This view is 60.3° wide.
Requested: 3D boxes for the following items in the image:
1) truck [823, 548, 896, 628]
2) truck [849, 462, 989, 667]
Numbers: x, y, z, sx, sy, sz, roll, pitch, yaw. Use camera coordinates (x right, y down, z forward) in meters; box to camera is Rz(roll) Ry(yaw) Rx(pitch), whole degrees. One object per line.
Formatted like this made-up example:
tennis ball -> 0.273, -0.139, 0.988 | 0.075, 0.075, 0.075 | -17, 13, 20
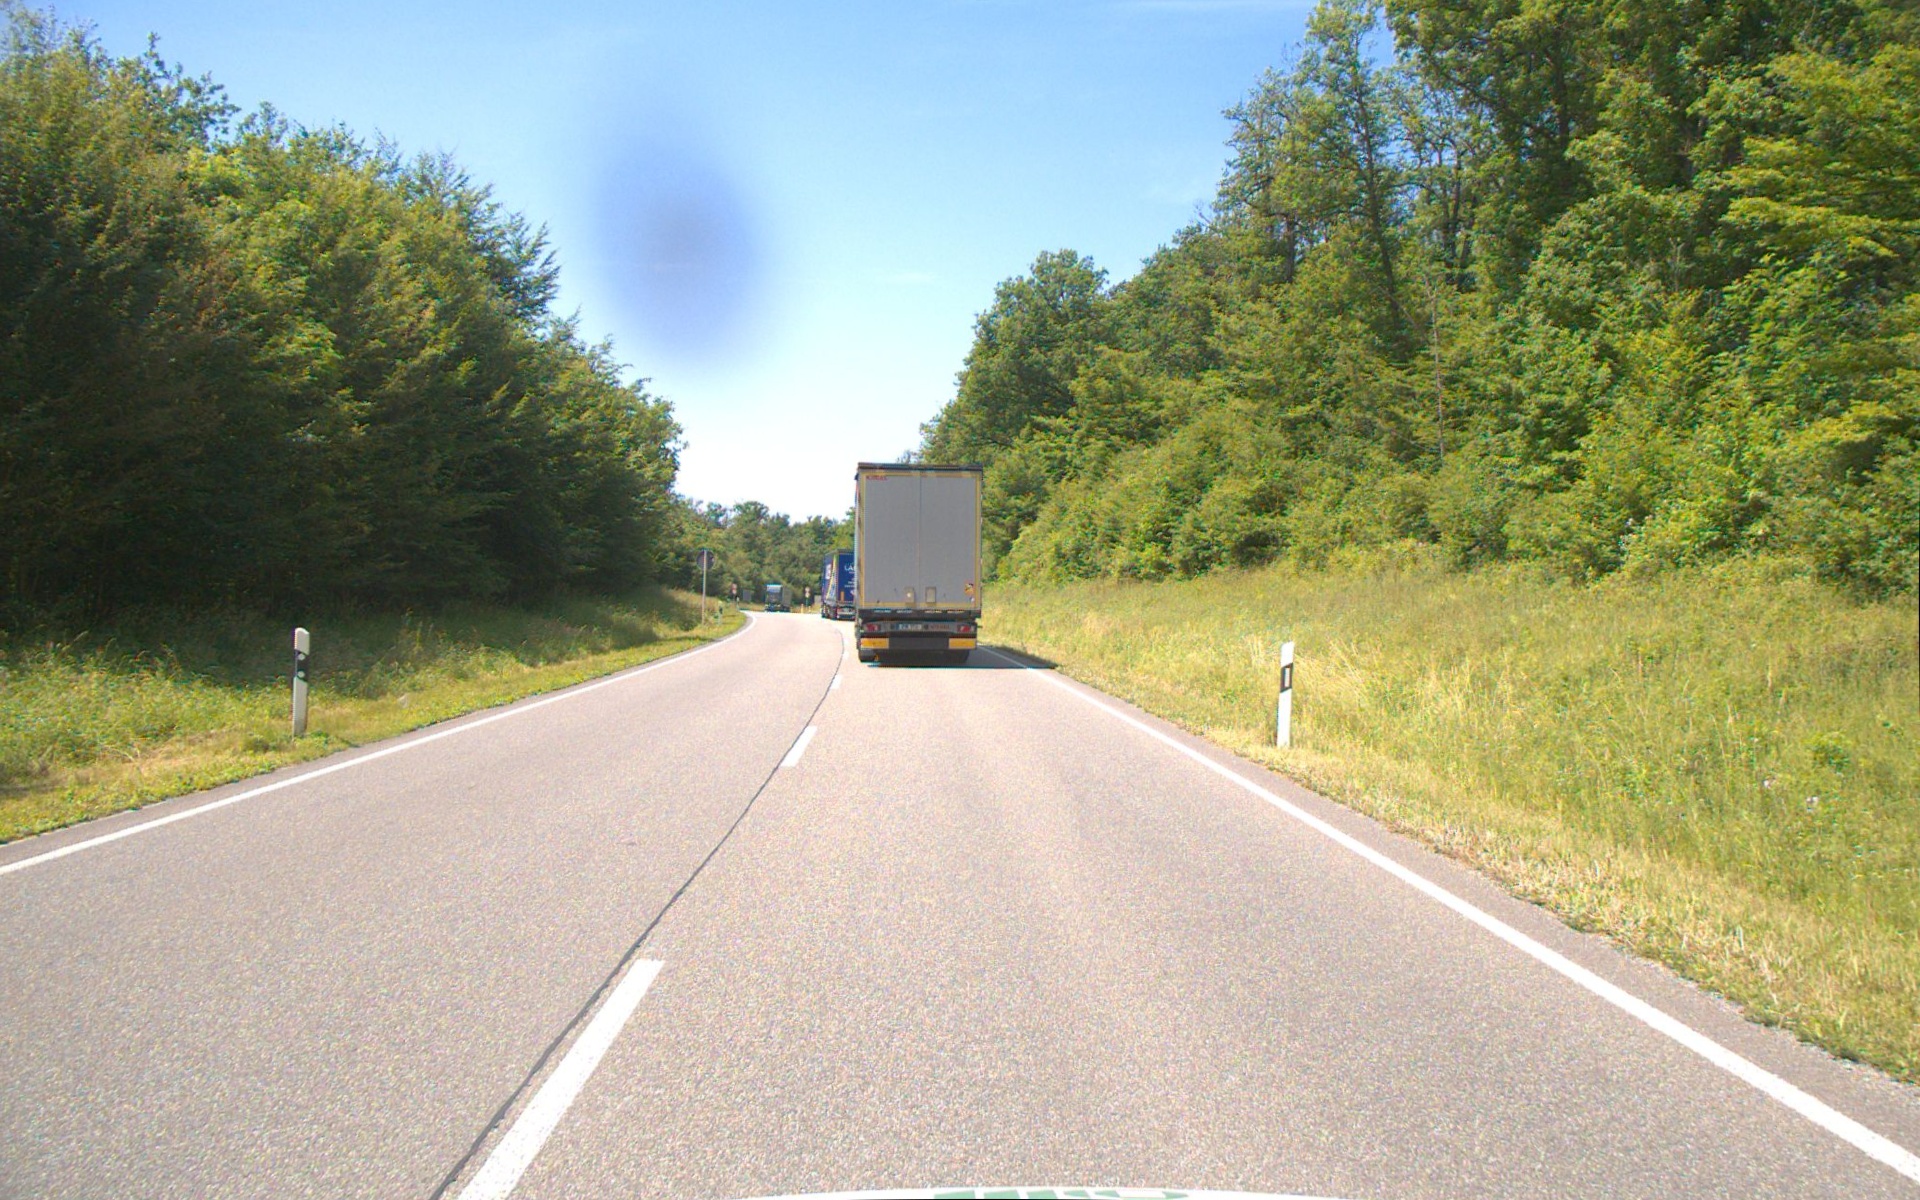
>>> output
truck -> -6.329, -0.726, 101.513 | 3.720, 4.449, 14.901 | 2, 0, -6
truck -> -1.151, -0.726, 38.933 | 2.706, 4.016, 12.189 | 1, 0, -3
